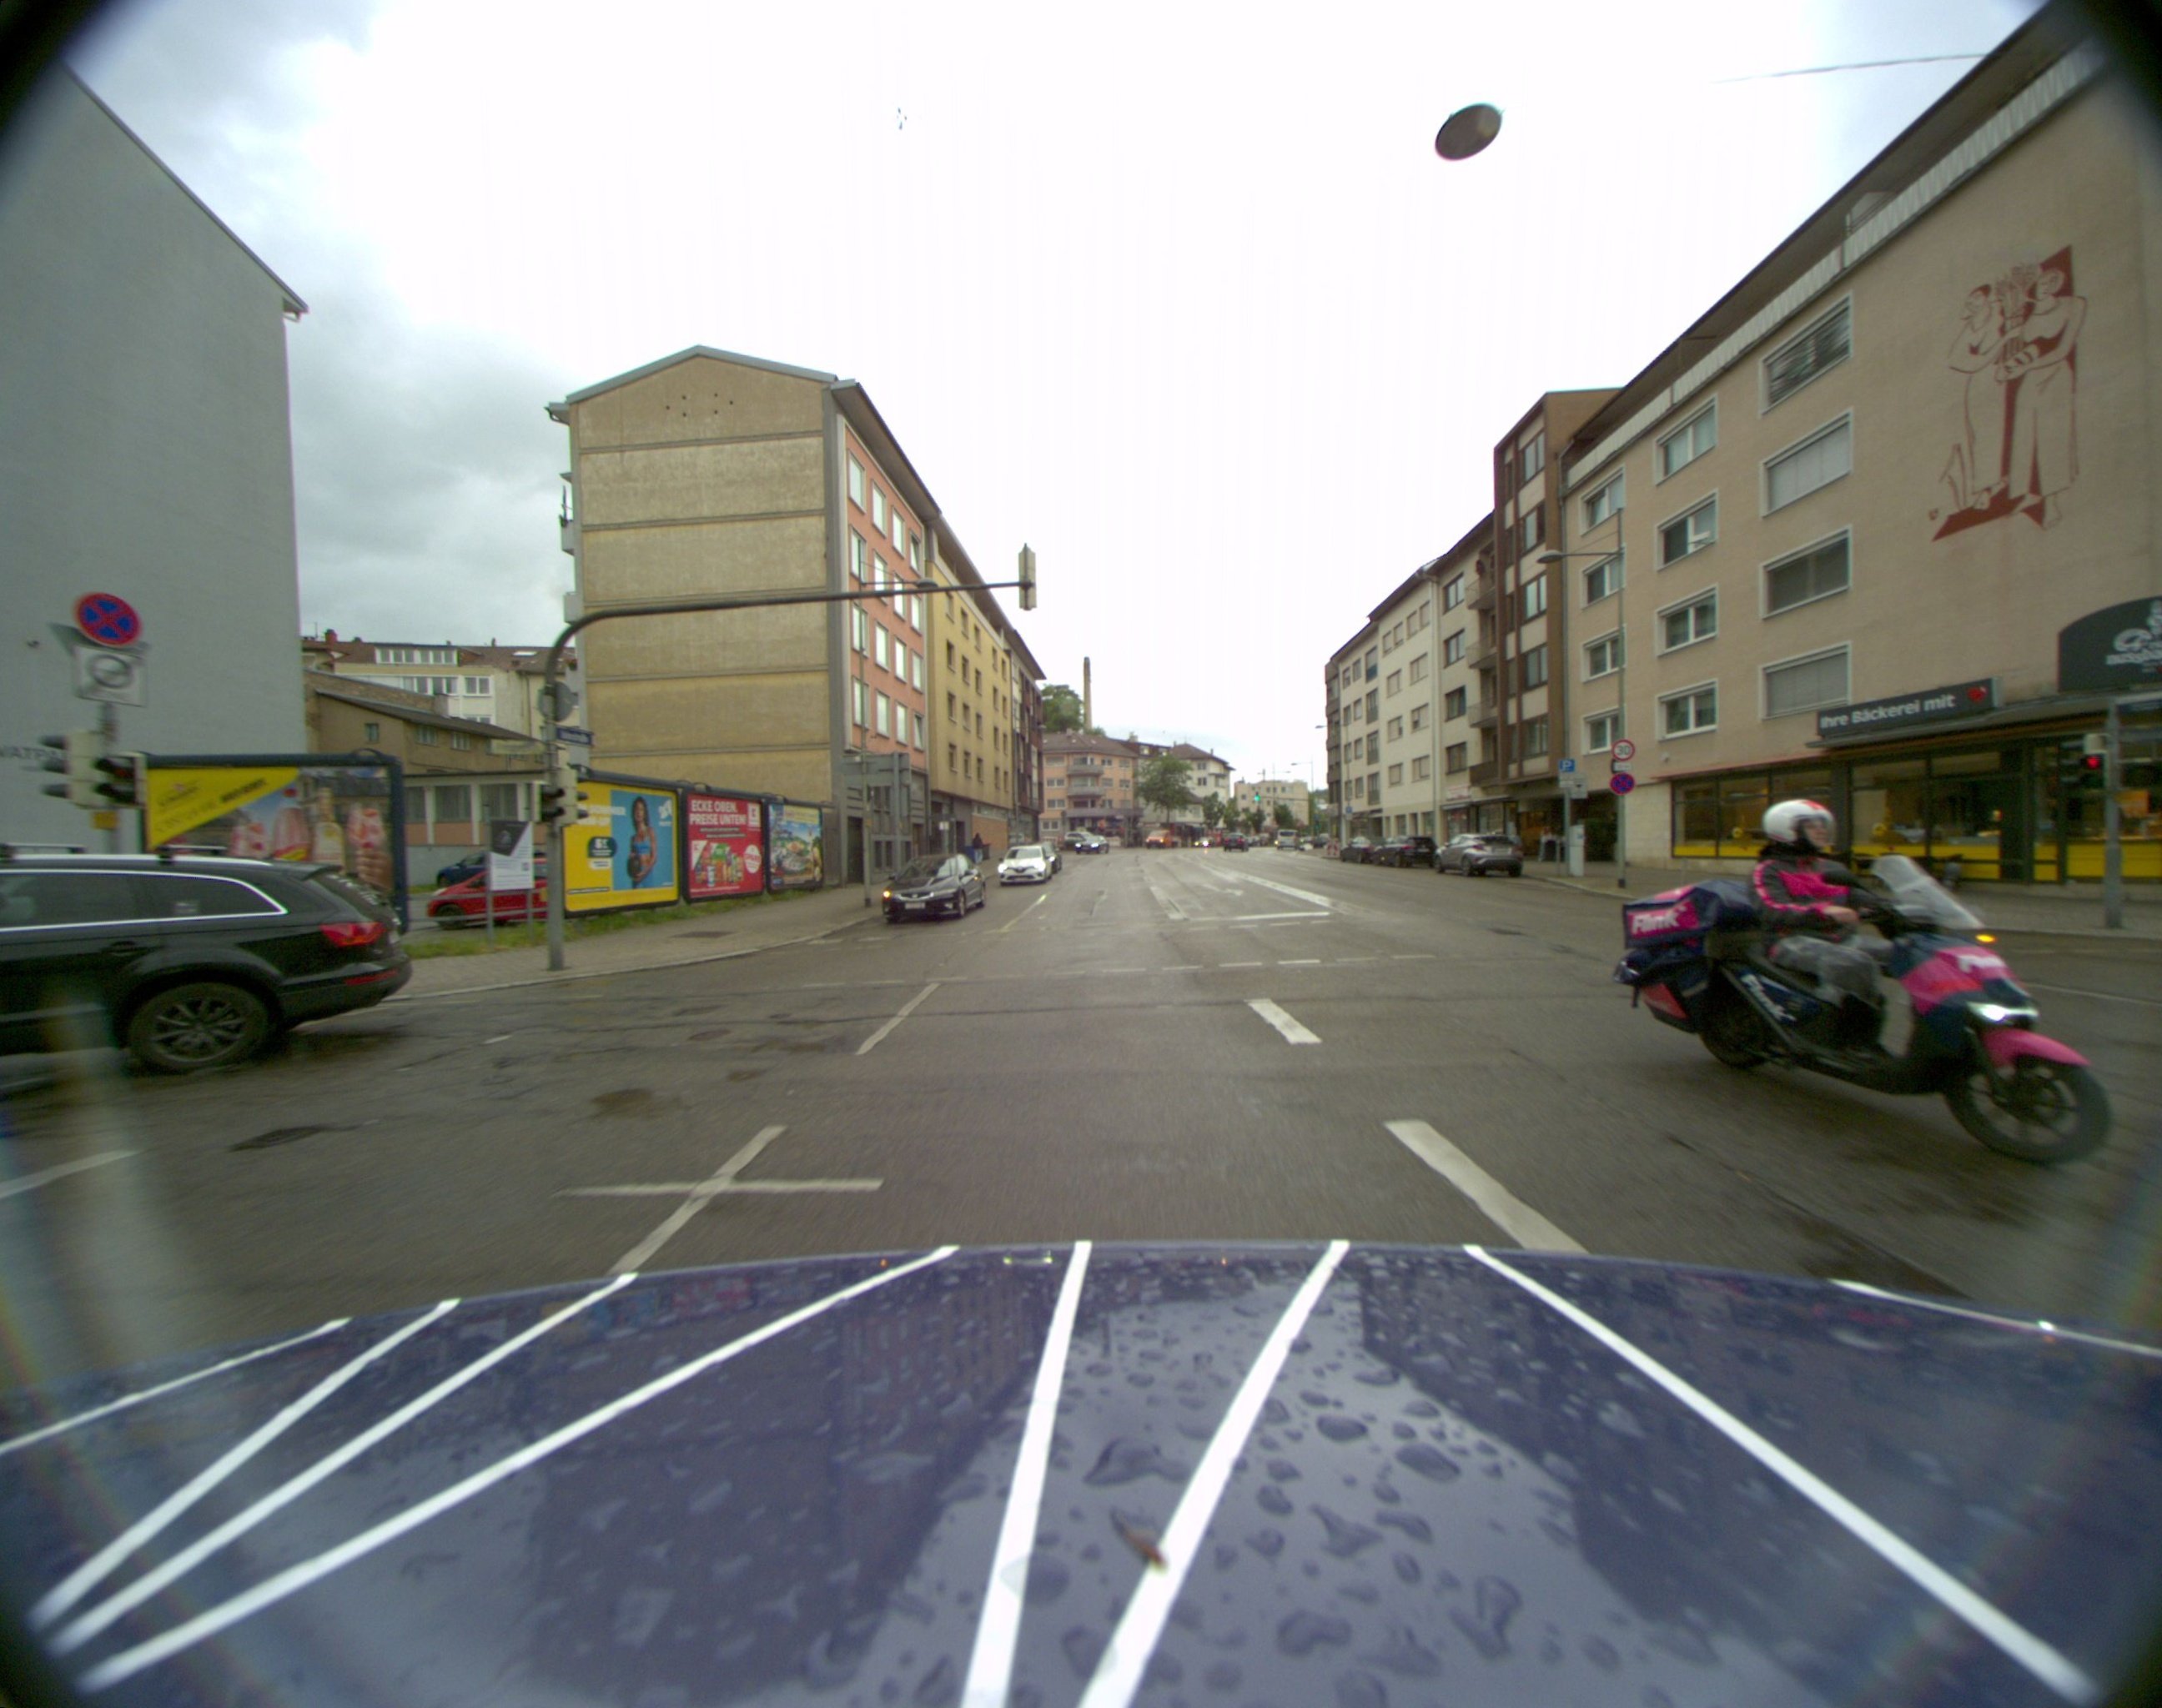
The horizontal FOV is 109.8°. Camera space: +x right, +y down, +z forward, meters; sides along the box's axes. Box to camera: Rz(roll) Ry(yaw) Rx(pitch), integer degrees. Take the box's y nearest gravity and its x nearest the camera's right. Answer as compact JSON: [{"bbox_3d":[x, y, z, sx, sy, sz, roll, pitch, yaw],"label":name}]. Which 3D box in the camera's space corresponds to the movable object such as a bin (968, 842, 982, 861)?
[{"bbox_3d":[-6.322,-0.161,45.387,0.682,1.071,0.668,-1,2,3],"label":"movable object such as a bin"}]

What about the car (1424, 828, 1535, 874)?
[{"bbox_3d":[14.399,-0.178,27.767,1.912,1.545,4.630,0,2,5],"label":"car"}]

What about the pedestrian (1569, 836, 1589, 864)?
[{"bbox_3d":[20.410,-0.161,31.135,0.672,1.142,0.596,0,3,31],"label":"pedestrian"}]

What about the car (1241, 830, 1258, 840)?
[{"bbox_3d":[25.702,-2.893,115.868,1.810,1.334,4.006,-2,1,24],"label":"car"}]

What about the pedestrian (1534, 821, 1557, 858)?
[{"bbox_3d":[20.210,-0.642,33.094,0.544,1.574,0.669,-2,2,-10],"label":"pedestrian"}]

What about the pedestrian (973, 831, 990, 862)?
[{"bbox_3d":[-5.767,-0.451,44.206,0.674,1.777,1.095,-1,2,6],"label":"pedestrian"}]

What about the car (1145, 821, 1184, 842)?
[{"bbox_3d":[9.006,-2.434,81.628,2.194,2.074,5.942,-1,2,26],"label":"car"}]

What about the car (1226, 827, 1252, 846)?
[{"bbox_3d":[14.355,-1.632,68.957,1.864,1.638,4.258,1,2,18],"label":"car"}]

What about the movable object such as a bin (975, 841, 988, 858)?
[{"bbox_3d":[-6.189,-0.283,47.447,0.682,1.071,0.668,-1,2,3],"label":"movable object such as a bin"}]

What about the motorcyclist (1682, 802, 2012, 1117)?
[{"bbox_3d":[4.043,0.495,4.102,0.917,1.485,0.864,-2,2,-6],"label":"motorcyclist"}]

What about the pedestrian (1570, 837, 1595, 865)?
[{"bbox_3d":[20.920,-0.136,31.708,0.609,1.142,0.632,-1,2,3],"label":"pedestrian"}]

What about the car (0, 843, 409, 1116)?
[{"bbox_3d":[-8.490,0.899,5.727,4.908,1.858,2.022,-1,0,-36],"label":"car"}]

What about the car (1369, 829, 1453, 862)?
[{"bbox_3d":[15.363,-0.441,35.645,1.998,1.469,4.517,0,2,0],"label":"car"}]

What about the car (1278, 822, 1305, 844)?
[{"bbox_3d":[21.822,-2.237,78.764,2.121,2.003,5.134,-2,2,21],"label":"car"}]

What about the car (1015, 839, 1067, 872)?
[{"bbox_3d":[-1.865,0.016,36.977,2.039,1.380,5.291,0,3,2],"label":"car"}]

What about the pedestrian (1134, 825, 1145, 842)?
[{"bbox_3d":[6.459,-2.277,83.581,0.920,1.851,1.029,-1,4,-16],"label":"pedestrian"}]

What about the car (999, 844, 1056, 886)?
[{"bbox_3d":[-2.011,0.387,29.806,1.680,1.395,3.999,-2,2,3],"label":"car"}]

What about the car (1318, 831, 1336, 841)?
[{"bbox_3d":[37.432,-2.723,115.648,1.723,1.391,3.602,-2,-2,33],"label":"car"}]

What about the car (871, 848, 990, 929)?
[{"bbox_3d":[-3.455,0.721,18.231,1.788,1.488,4.055,-3,2,3],"label":"car"}]

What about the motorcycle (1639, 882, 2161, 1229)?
[{"bbox_3d":[4.068,0.820,3.986,0.589,1.184,2.100,-2,2,-5],"label":"motorcycle"}]

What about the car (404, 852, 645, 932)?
[{"bbox_3d":[-11.992,0.766,16.642,3.663,1.543,2.087,-1,1,-4],"label":"car"}]

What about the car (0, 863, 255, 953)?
[{"bbox_3d":[-19.325,0.961,14.670,1.879,1.432,4.331,-1,1,2],"label":"car"}]

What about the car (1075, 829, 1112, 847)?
[{"bbox_3d":[1.024,-1.292,60.252,1.809,1.332,4.282,1,3,17],"label":"car"}]

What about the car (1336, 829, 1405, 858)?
[{"bbox_3d":[15.564,-0.626,41.160,1.887,1.469,4.977,1,2,1],"label":"car"}]

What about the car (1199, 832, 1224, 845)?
[{"bbox_3d":[16.528,-1.933,96.052,1.840,1.434,4.006,-2,1,30],"label":"car"}]

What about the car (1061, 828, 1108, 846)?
[{"bbox_3d":[0.322,-1.780,77.733,2.004,1.711,4.783,-1,3,-41],"label":"car"}]

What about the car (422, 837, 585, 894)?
[{"bbox_3d":[-19.796,0.395,26.070,4.769,1.679,2.158,-2,1,21],"label":"car"}]

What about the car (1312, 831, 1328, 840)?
[{"bbox_3d":[39.859,-3.144,126.839,1.985,1.451,4.492,2,2,24],"label":"car"}]
